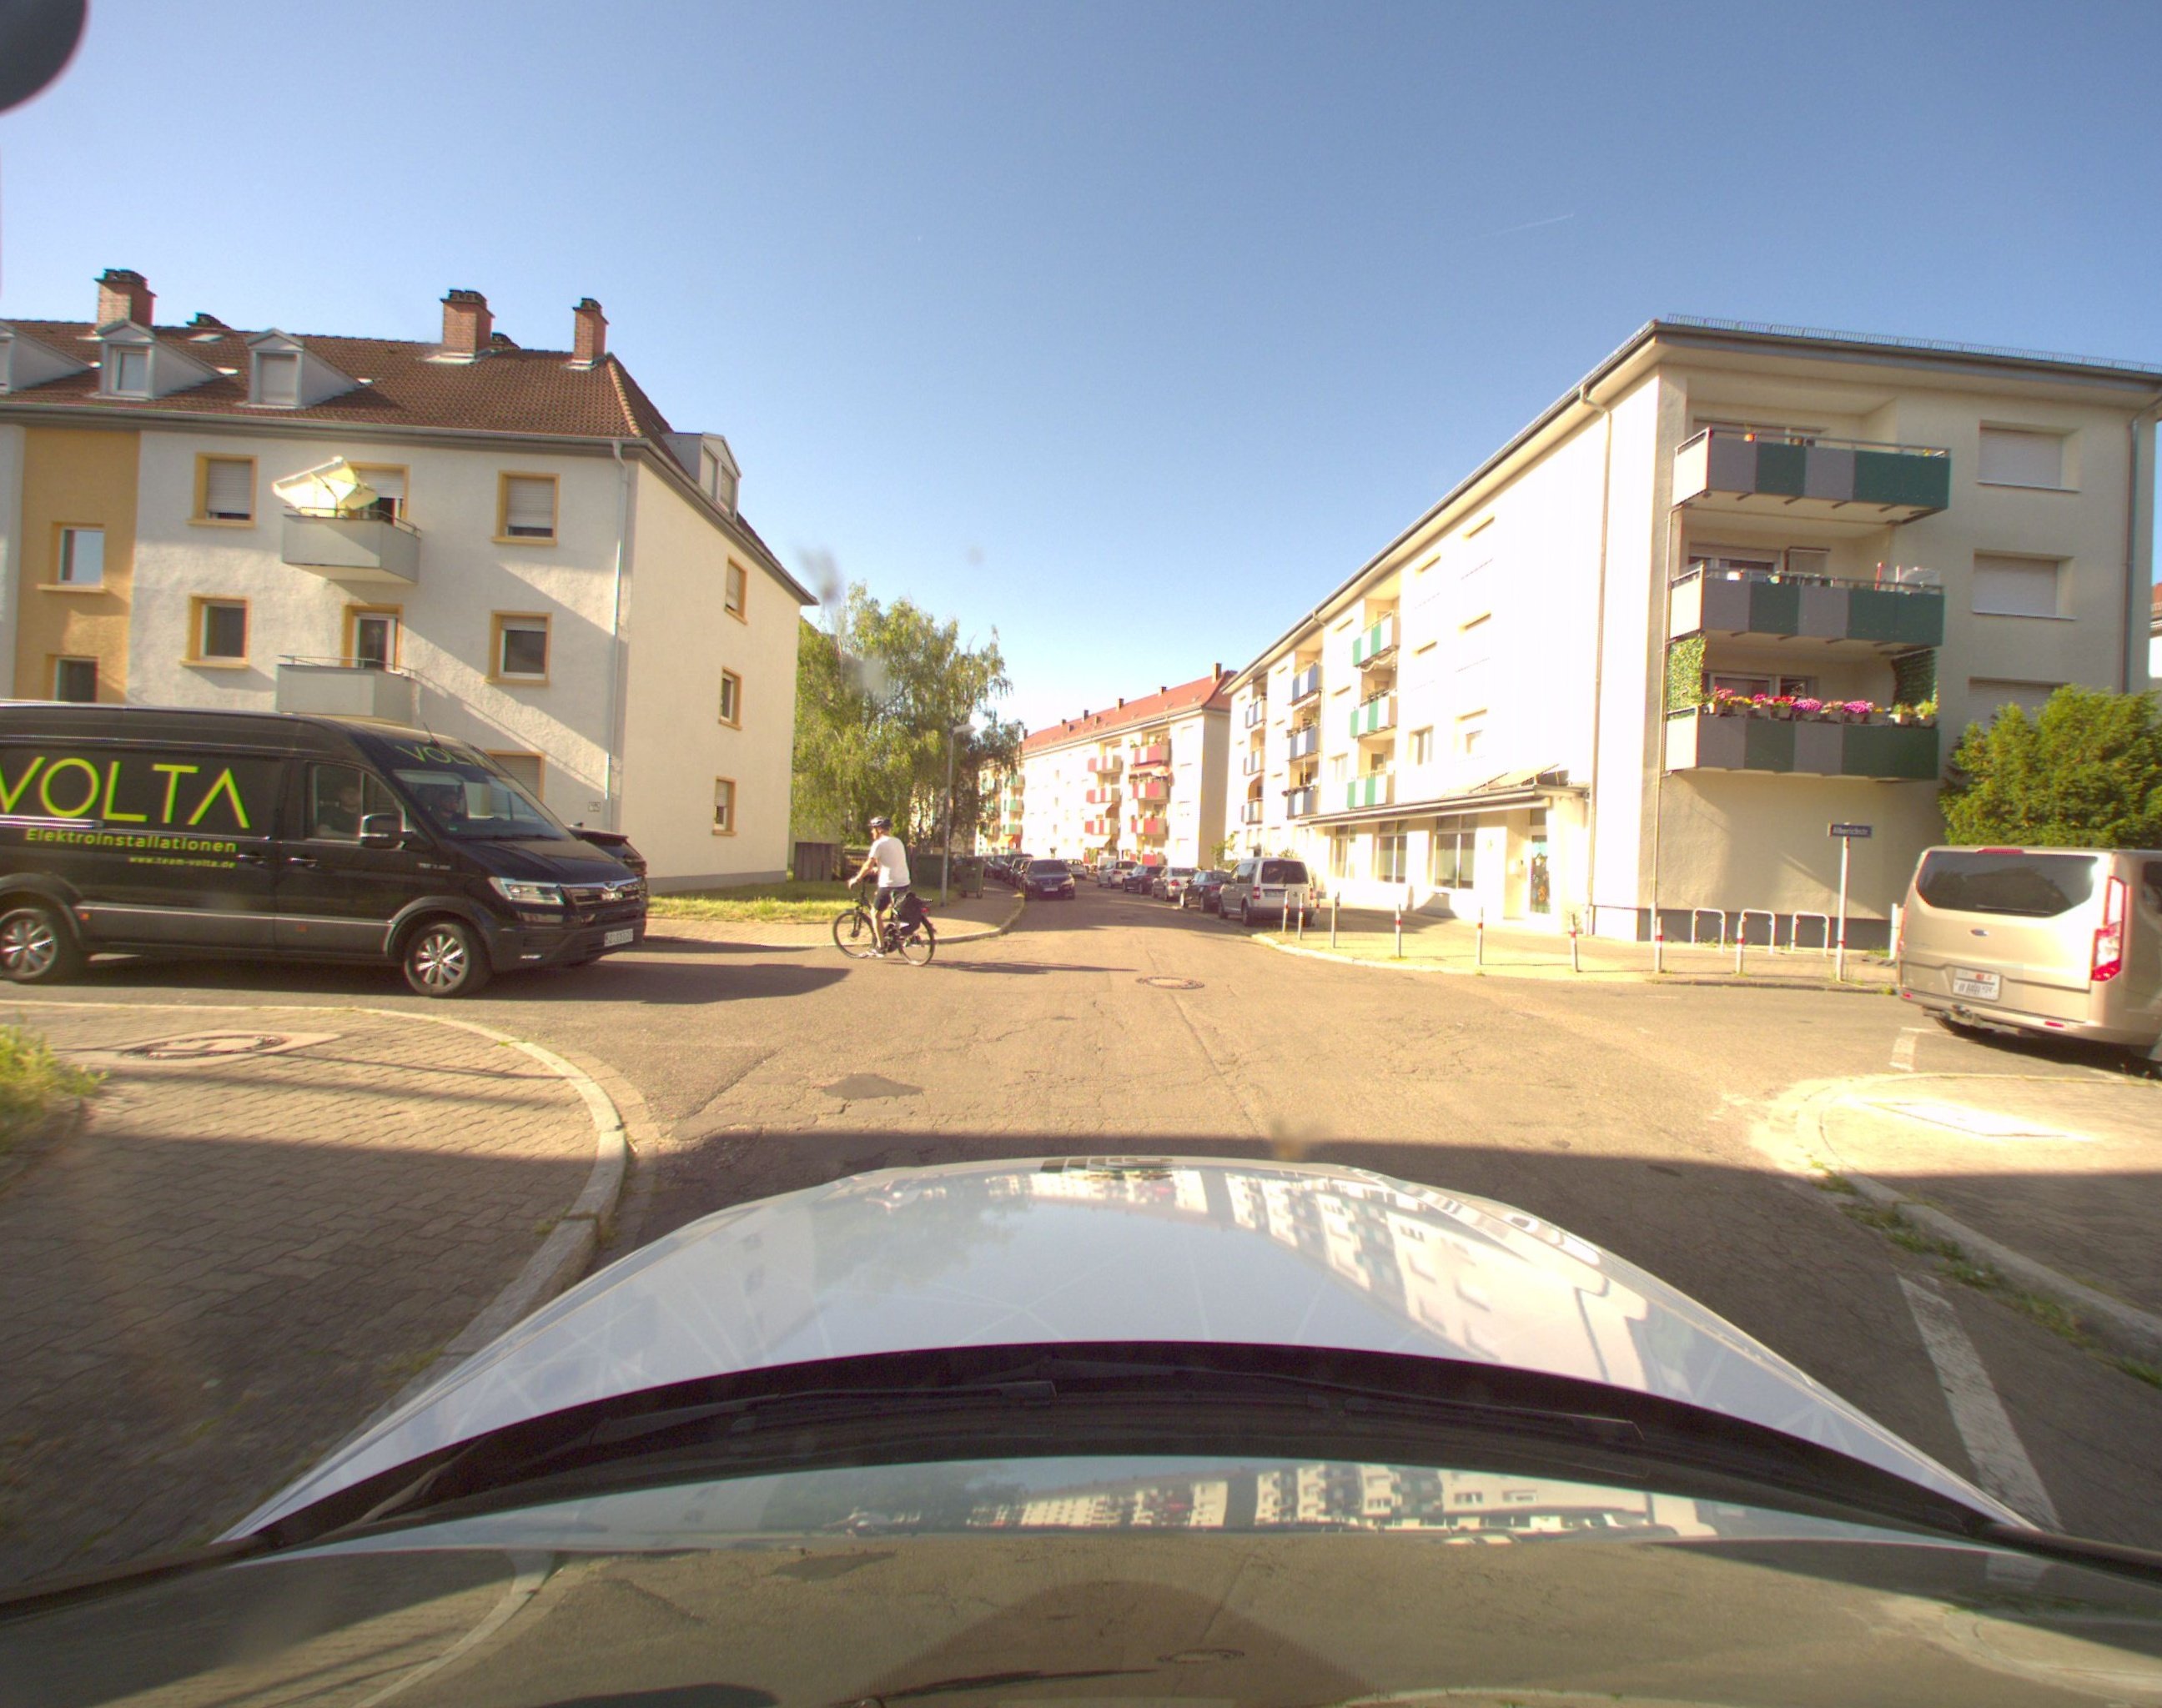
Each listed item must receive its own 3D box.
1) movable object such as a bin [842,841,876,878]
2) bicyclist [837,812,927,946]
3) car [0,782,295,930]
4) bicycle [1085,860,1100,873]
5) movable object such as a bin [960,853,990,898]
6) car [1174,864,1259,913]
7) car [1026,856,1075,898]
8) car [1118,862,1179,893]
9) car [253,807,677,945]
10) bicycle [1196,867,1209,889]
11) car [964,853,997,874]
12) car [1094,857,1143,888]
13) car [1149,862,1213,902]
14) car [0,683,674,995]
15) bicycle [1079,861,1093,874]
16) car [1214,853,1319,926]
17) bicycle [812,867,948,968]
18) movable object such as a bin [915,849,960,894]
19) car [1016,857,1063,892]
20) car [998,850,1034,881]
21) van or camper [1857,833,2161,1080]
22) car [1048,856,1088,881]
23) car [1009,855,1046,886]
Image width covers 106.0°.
[{"bbox_3d":[-8.668,0.208,31.836,1.058,1.435,1.002,1,0,-3],"label":"movable object such as a bin"},{"bbox_3d":[-2.477,0.292,10.132,0.895,1.579,0.601,2,-1,38],"label":"bicyclist"},{"bbox_3d":[-13.520,0.023,11.012,3.978,1.789,1.719,2,-2,0],"label":"car"},{"bbox_3d":[0.958,1.074,68.528,0.620,0.978,1.883,-1,2,-21],"label":"bicycle"},{"bbox_3d":[-3.420,0.672,26.389,0.774,1.393,1.416,2,0,-2],"label":"movable object such as a bin"},{"bbox_3d":[4.603,1.142,28.361,1.676,1.407,4.534,2,0,-7],"label":"car"},{"bbox_3d":[-1.222,0.818,30.857,1.675,1.453,4.613,0,0,-4],"label":"car"},{"bbox_3d":[3.256,1.114,40.223,1.695,1.431,4.667,1,-1,-13],"label":"car"},{"bbox_3d":[-8.358,0.307,11.363,4.474,1.664,1.719,2,-2,0],"label":"car"},{"bbox_3d":[6.812,1.343,45.792,0.512,1.203,1.762,1,0,2],"label":"bicycle"},{"bbox_3d":[-7.668,0.695,61.832,1.698,1.389,4.131,2,0,-18],"label":"car"},{"bbox_3d":[2.107,1.031,46.851,1.695,1.655,4.371,1,0,-12],"label":"car"},{"bbox_3d":[4.124,1.118,34.389,1.675,1.447,4.715,2,0,-5],"label":"car"},{"bbox_3d":[-7.592,-0.145,8.111,5.924,2.545,1.999,2,0,-1],"label":"car"},{"bbox_3d":[0.434,1.139,68.002,0.499,1.020,1.828,1,0,-22],"label":"bicycle"},{"bbox_3d":[5.016,0.899,22.582,1.743,1.824,4.125,0,0,-4],"label":"car"},{"bbox_3d":[-2.533,0.747,10.154,1.793,1.115,0.633,1,-2,38],"label":"bicycle"},{"bbox_3d":[-4.710,0.573,26.797,1.215,1.380,0.768,3,-1,2],"label":"movable object such as a bin"},{"bbox_3d":[-1.886,0.862,36.000,1.677,1.442,4.267,0,0,-8],"label":"car"},{"bbox_3d":[-3.786,0.628,47.103,1.556,1.714,4.320,0,0,-12],"label":"car"},{"bbox_3d":[10.943,0.925,7.811,5.109,2.013,1.999,3,1,-2],"label":"van or camper"},{"bbox_3d":[-0.996,1.006,59.246,1.771,1.635,4.016,1,1,-19],"label":"car"},{"bbox_3d":[-2.733,0.794,41.012,1.554,1.442,3.956,0,0,-8],"label":"car"}]
